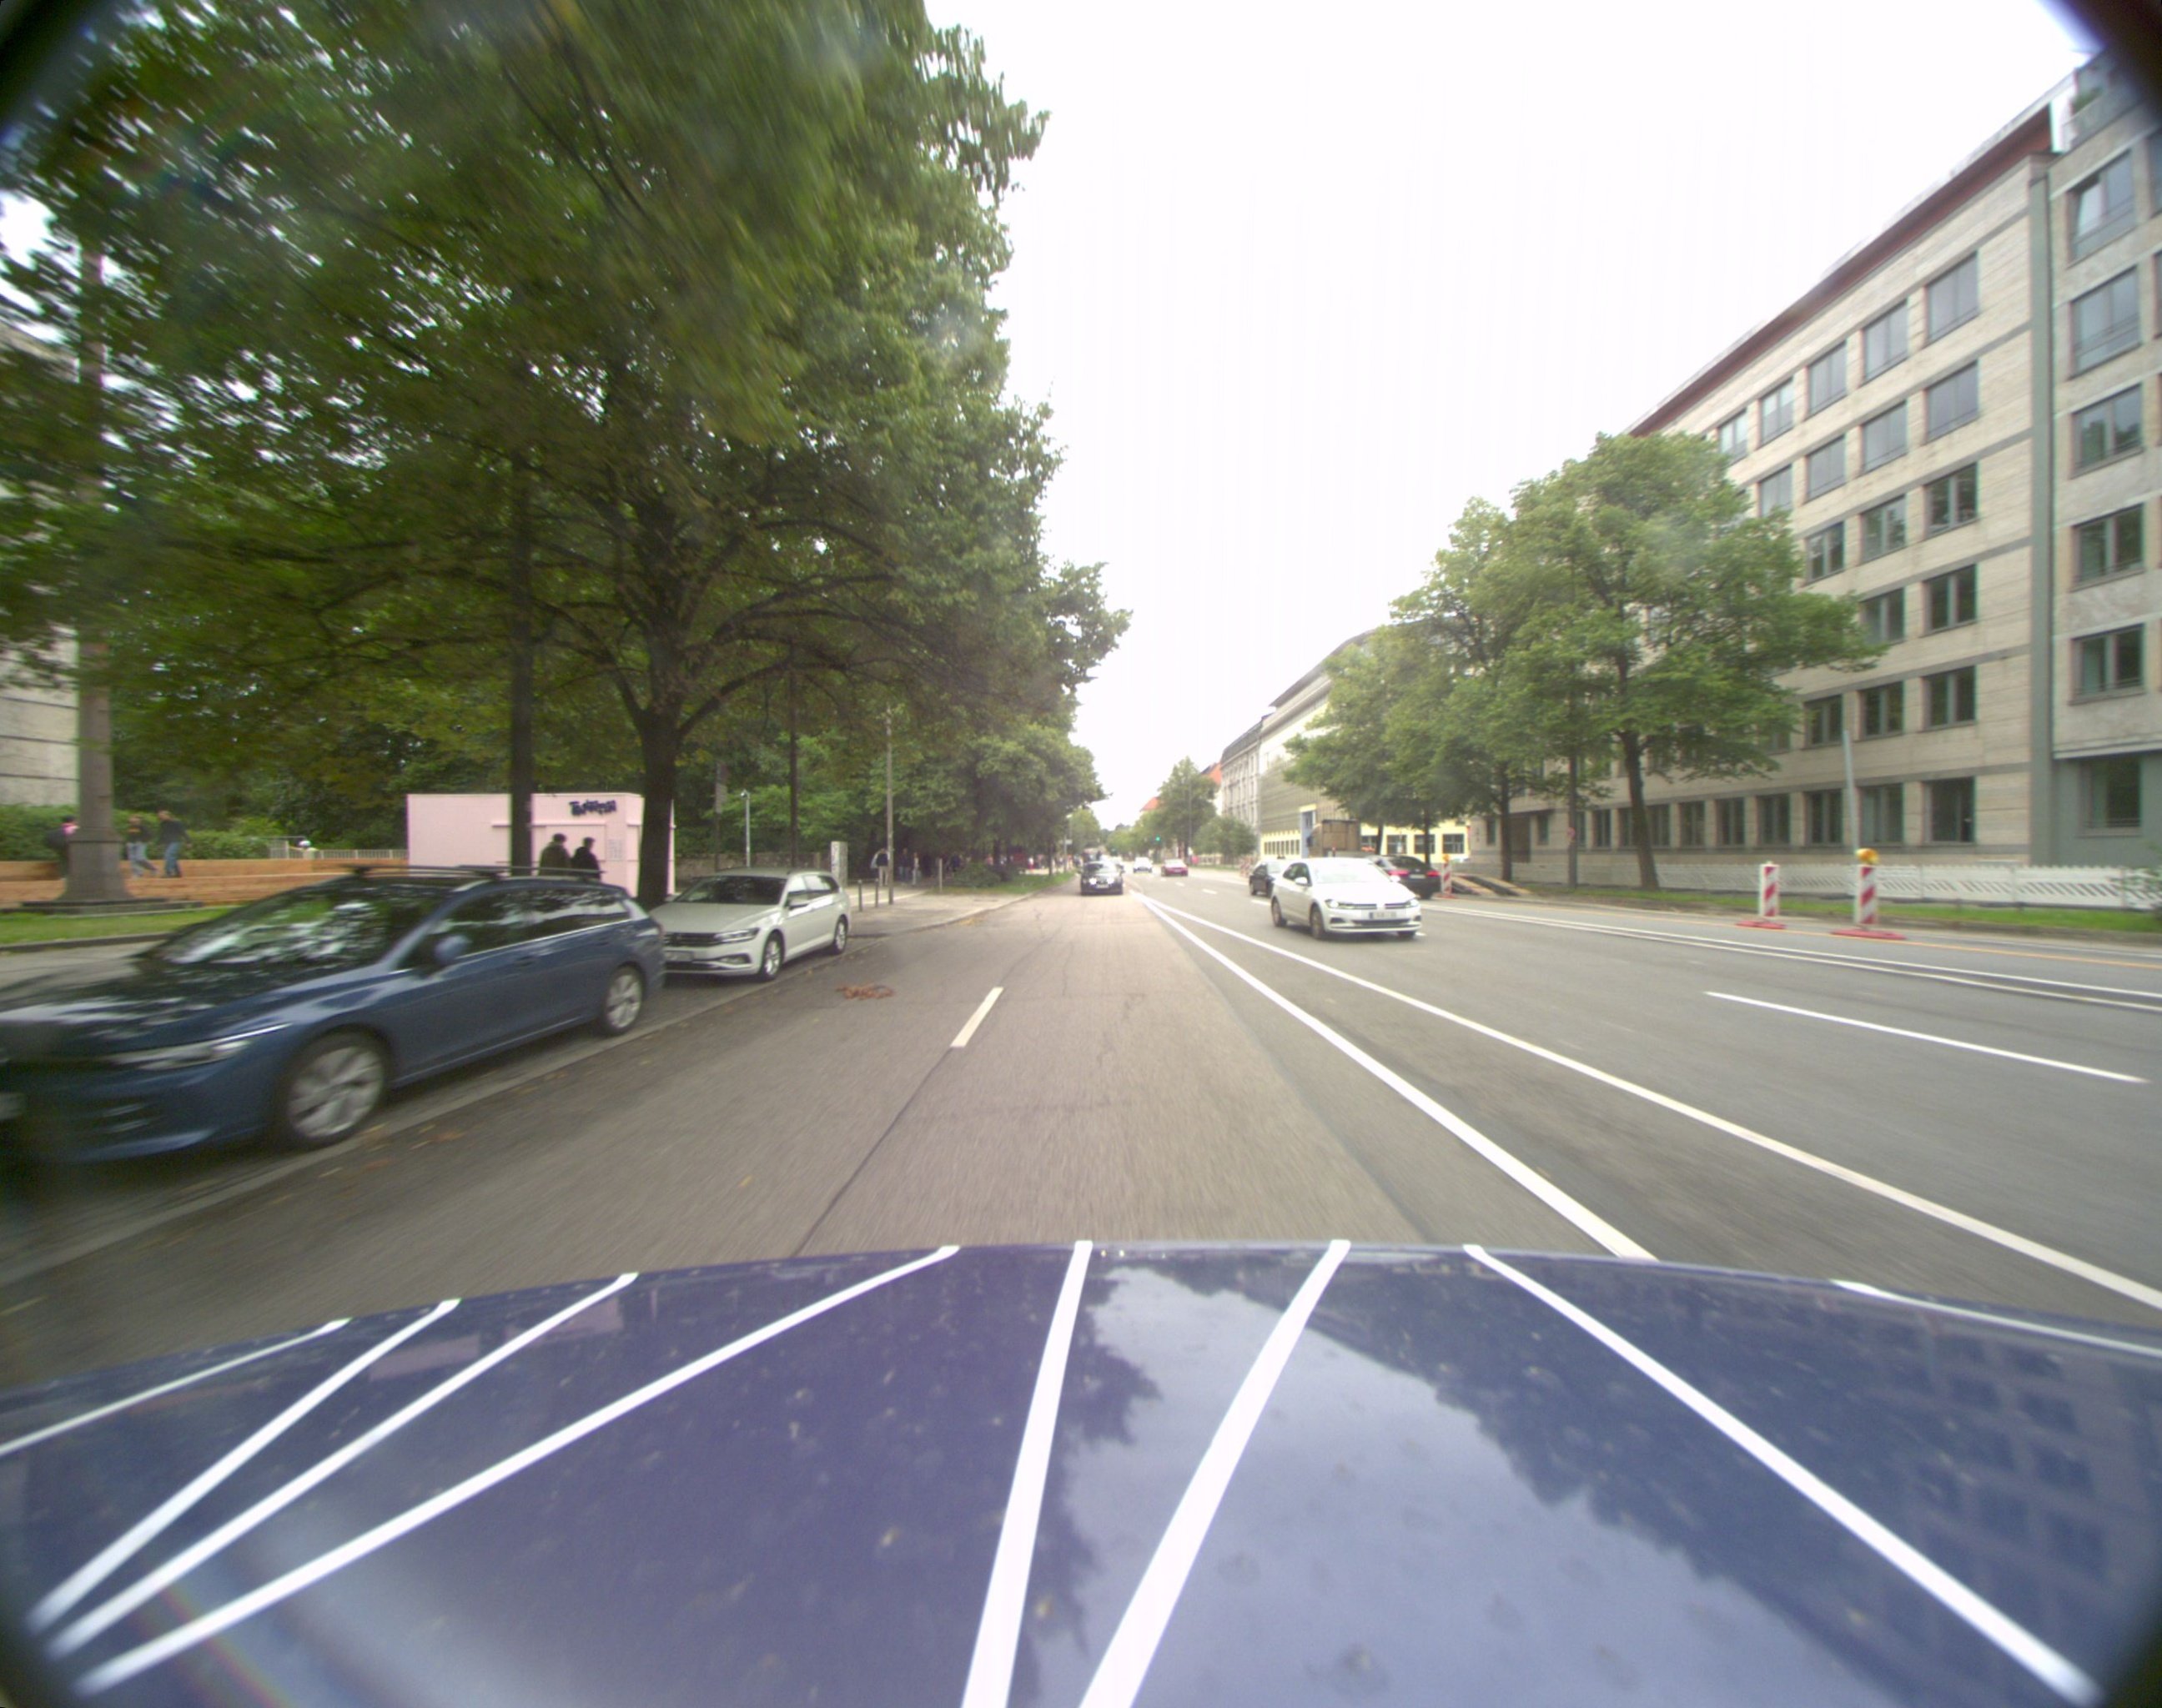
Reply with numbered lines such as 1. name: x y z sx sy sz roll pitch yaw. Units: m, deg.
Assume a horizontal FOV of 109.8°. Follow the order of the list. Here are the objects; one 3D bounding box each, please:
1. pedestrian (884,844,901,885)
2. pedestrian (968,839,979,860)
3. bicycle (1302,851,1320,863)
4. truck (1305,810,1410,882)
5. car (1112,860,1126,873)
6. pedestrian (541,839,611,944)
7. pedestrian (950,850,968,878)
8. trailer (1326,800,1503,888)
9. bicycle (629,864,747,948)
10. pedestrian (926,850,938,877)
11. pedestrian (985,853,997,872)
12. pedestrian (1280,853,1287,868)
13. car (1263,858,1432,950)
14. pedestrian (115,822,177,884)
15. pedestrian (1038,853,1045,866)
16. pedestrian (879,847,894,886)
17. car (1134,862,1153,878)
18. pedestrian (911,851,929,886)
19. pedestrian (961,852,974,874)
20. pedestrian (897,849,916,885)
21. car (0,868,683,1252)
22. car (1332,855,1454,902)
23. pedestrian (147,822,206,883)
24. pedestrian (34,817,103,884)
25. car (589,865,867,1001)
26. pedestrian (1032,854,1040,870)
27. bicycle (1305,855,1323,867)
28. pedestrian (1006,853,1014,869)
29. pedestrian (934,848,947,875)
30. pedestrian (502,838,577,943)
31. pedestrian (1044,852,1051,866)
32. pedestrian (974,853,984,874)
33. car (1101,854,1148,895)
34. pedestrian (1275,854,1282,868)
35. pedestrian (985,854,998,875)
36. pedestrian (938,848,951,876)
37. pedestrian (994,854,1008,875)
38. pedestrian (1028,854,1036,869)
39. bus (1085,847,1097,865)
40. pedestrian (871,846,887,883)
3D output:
1. pedestrian: -9.237 0.511 37.204 0.595 2.002 0.724 1 1 2
2. pedestrian: -7.793 -0.343 55.121 0.682 1.506 0.562 -2 1 2
3. bicycle: 28.099 0.376 92.831 2.014 1.311 0.638 -2 1 -4
4. truck: 15.891 -0.429 44.410 2.924 3.752 7.663 -2 0 -3
5. car: 4.854 1.597 97.438 1.638 1.562 3.946 0 0 1
6. pedestrian: -9.437 0.688 14.227 0.701 1.899 0.771 -2 1 2
7. pedestrian: -7.930 0.650 49.461 0.755 1.727 0.851 -2 1 16
8. trailer: 16.285 -0.430 38.566 2.958 3.718 11.765 -2 0 -4
9. bicycle: -6.537 0.800 12.833 0.630 1.224 2.618 -2 0 -1
10. pedestrian: -9.350 0.623 47.671 0.581 1.666 0.553 -2 1 5
11. pedestrian: -7.936 0.729 66.892 0.755 1.634 0.691 -2 1 16
12. pedestrian: 25.909 0.829 97.088 0.617 1.766 0.836 -2 1 1
13. car: 4.894 0.841 14.627 1.797 1.439 4.275 -1 0 0
14. pedestrian: -23.042 -0.025 18.740 0.488 1.485 0.771 -2 1 2
15. pedestrian: -5.127 0.723 98.788 0.728 1.681 0.648 -2 1 6
16. pedestrian: -9.261 0.589 36.164 0.597 1.798 0.723 1 1 -23
17. car: 6.164 1.558 75.377 1.638 1.562 3.946 0 0 1
18. pedestrian: -7.895 0.695 37.188 0.609 1.671 0.754 -2 1 5
19. pedestrian: -8.050 0.632 53.786 0.682 1.557 0.872 -2 1 2
20. pedestrian: -8.540 0.635 37.188 0.609 1.753 0.797 -2 1 5
21. car: -5.038 0.925 5.547 1.728 1.540 4.586 0 0 2
22. car: 10.720 0.764 26.605 1.882 1.457 5.214 -1 0 -3
23. pedestrian: -22.533 -0.042 18.944 0.488 1.485 0.771 -2 1 2
24. pedestrian: -23.456 -0.081 17.616 0.488 1.485 0.771 -2 1 2
25. car: -4.883 0.973 11.440 1.832 1.540 4.752 0 0 2
26. pedestrian: -4.802 0.826 81.107 0.728 1.681 0.648 -2 1 6
27. bicycle: 28.224 0.850 91.994 2.014 1.311 0.574 -2 1 -4
28. pedestrian: -8.784 0.884 93.444 0.814 1.863 0.729 -2 1 3
29. pedestrian: -9.555 0.504 51.762 0.632 1.763 0.782 -2 1 5
30. pedestrian: -10.180 0.676 14.311 0.765 1.899 0.771 -2 1 2
31. pedestrian: -4.387 0.656 98.709 0.728 1.681 0.648 -2 1 6
32. pedestrian: -9.153 0.835 68.224 0.694 1.862 0.610 -2 1 -34
33. car: 1.823 0.848 33.026 1.797 1.627 4.275 -1 0 0
34. pedestrian: 25.272 0.868 97.089 0.617 1.766 0.836 -2 1 1
35. pedestrian: -7.161 0.870 60.869 0.755 1.634 0.851 -2 1 16
36. pedestrian: -8.836 0.524 49.246 0.589 1.812 0.850 -2 1 2
37. pedestrian: -6.383 0.843 60.692 0.755 1.634 0.851 -2 1 16
38. pedestrian: -5.391 0.801 83.783 0.694 1.642 0.610 -2 1 -32
39. bus: 1.494 0.272 111.086 1.638 2.570 6.702 0 0 1
40. pedestrian: -9.838 0.495 37.006 0.597 1.798 0.723 1 1 -23
